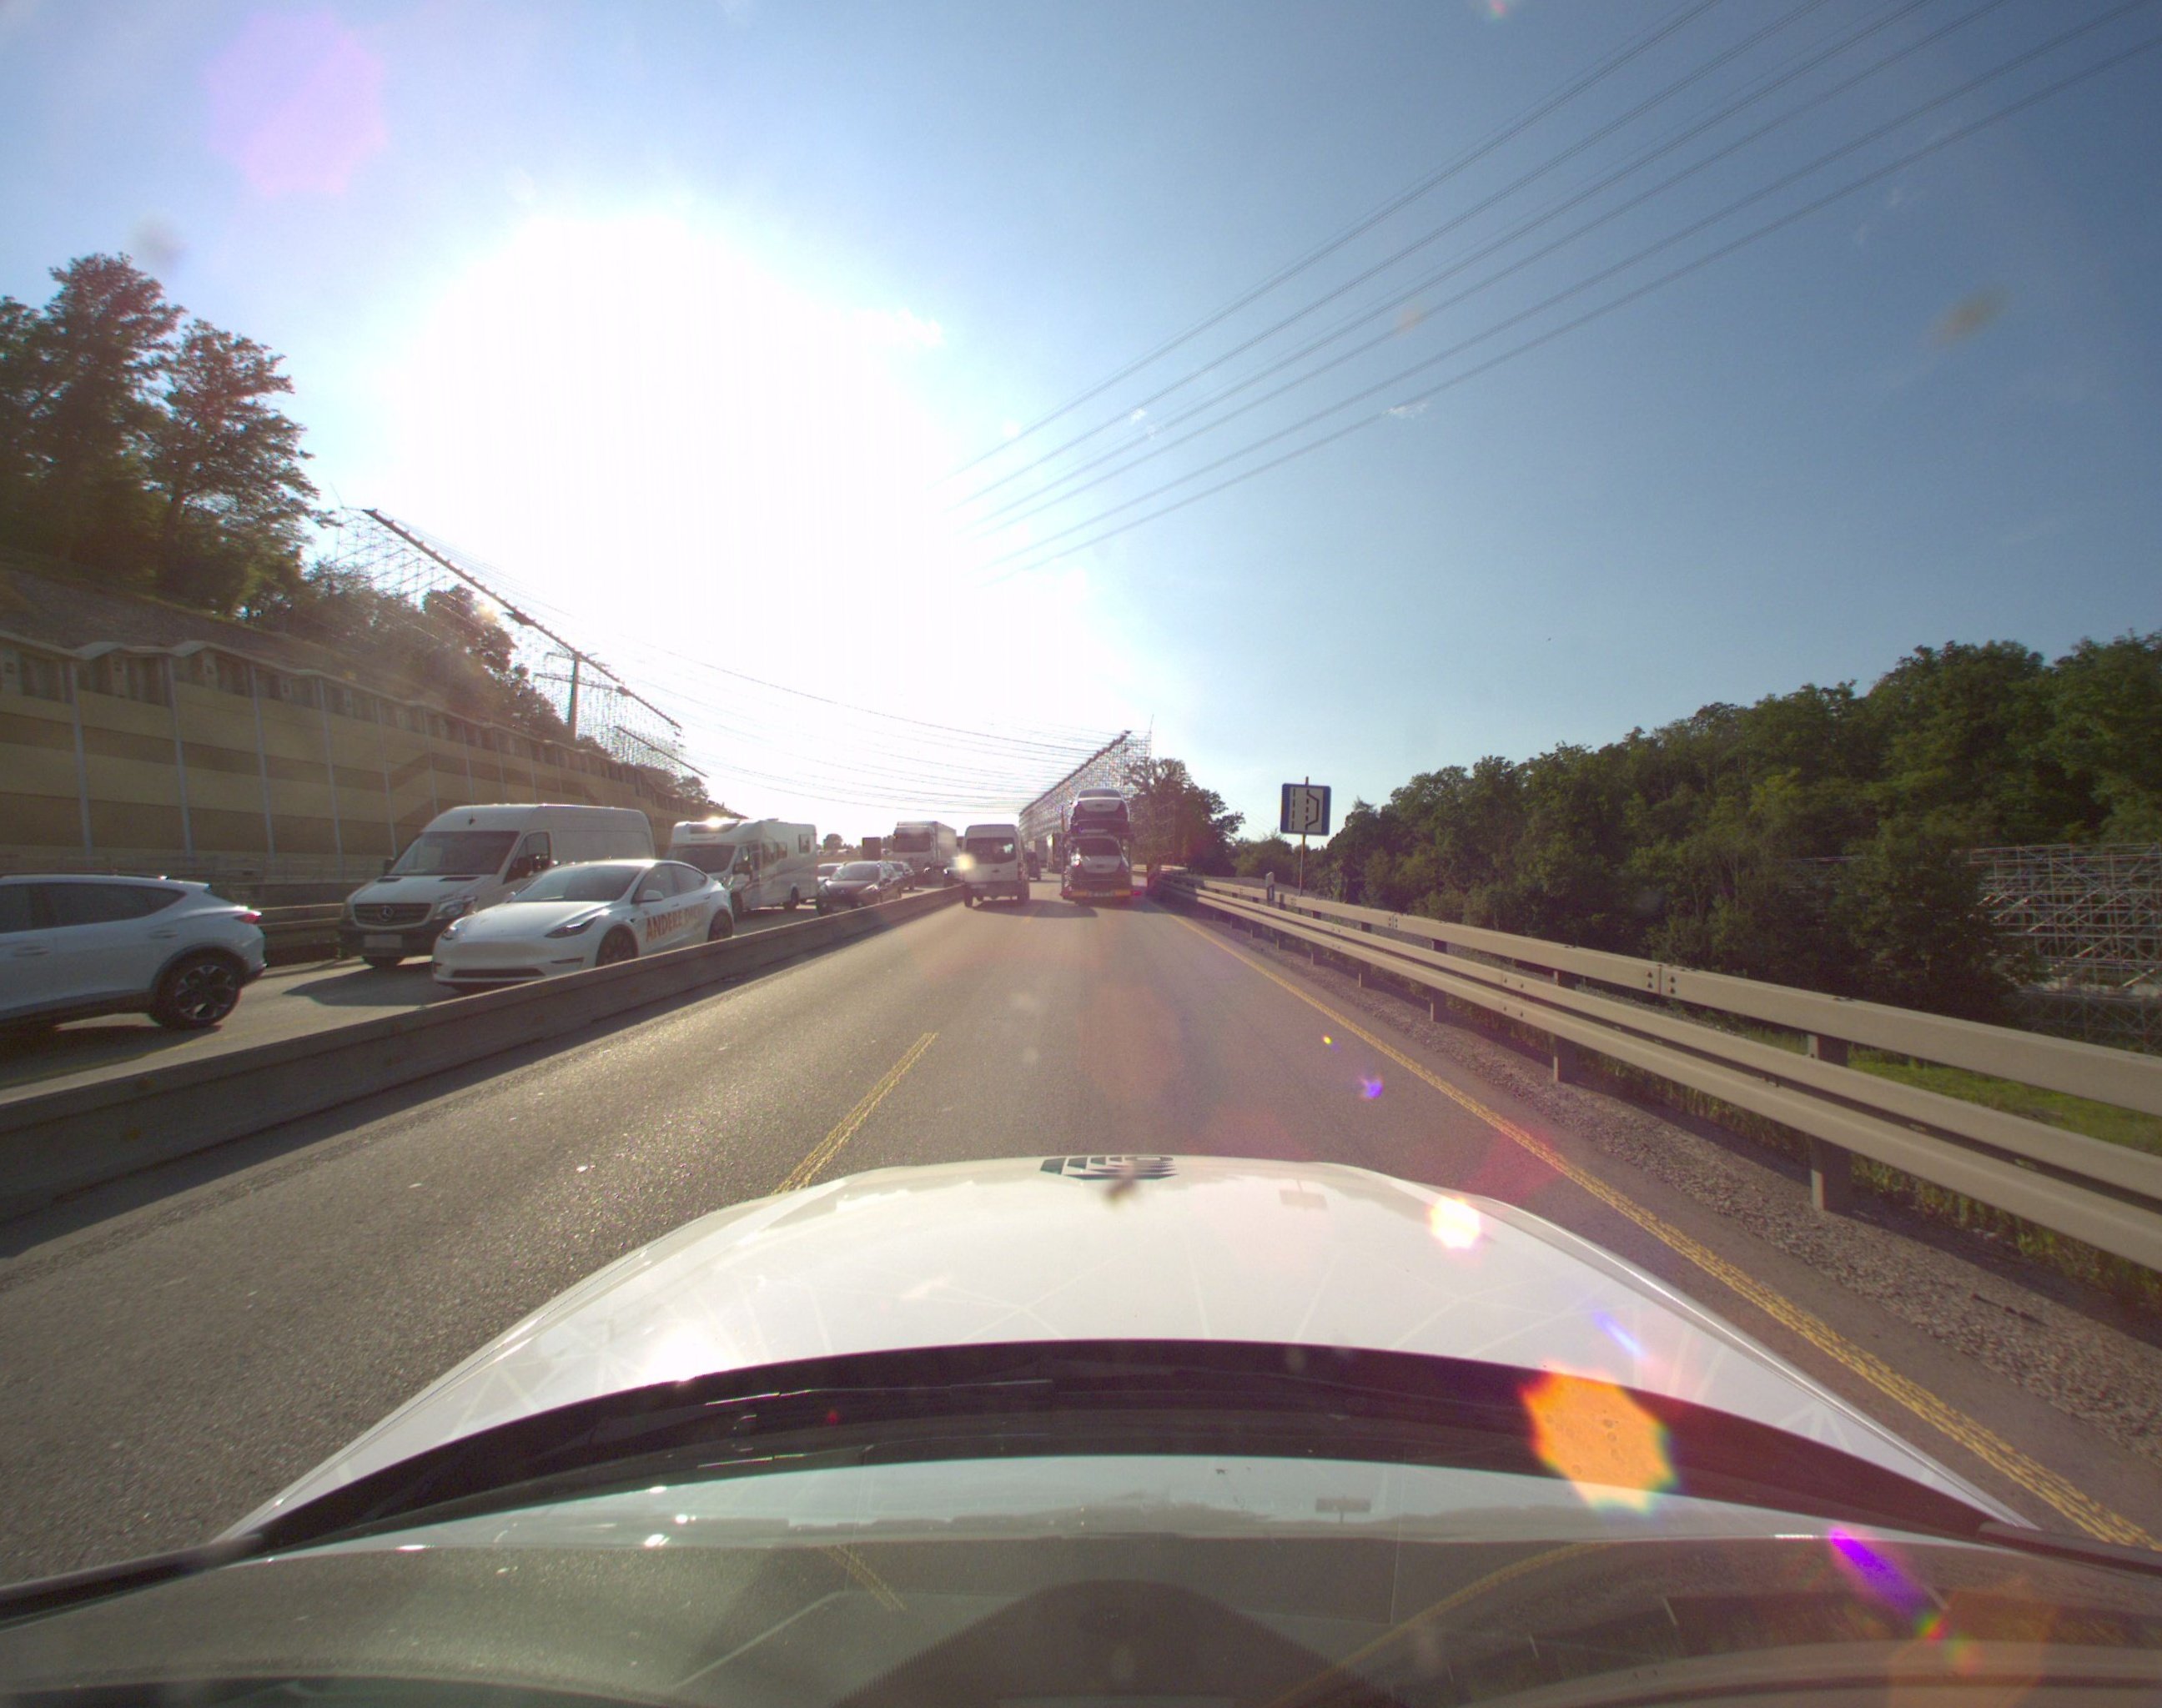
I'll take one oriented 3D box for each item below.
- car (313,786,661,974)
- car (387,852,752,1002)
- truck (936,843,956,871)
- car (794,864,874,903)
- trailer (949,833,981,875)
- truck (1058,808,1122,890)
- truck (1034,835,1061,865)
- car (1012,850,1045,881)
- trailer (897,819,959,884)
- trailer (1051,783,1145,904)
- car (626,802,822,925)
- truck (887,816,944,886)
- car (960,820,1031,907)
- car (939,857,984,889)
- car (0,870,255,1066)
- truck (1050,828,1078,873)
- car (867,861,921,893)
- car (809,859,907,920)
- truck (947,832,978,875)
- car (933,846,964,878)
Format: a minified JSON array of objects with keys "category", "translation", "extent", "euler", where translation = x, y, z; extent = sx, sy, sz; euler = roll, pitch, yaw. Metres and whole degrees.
[{"category":"car","translation":[-9.976,0.405,14.516],"extent":[1.950,2.621,5.747],"euler":[-2,-1,0]},{"category":"car","translation":[-6.640,0.809,11.428],"extent":[2.052,1.486,4.725],"euler":[-4,1,-1]},{"category":"truck","translation":[-20.817,0.433,125.220],"extent":[2.664,4.230,6.080],"euler":[-1,0,-12]},{"category":"car","translation":[-9.495,1.088,31.644],"extent":[1.743,1.422,4.607],"euler":[0,-1,-1]},{"category":"trailer","translation":[-12.934,0.054,91.955],"extent":[2.762,4.334,13.854],"euler":[-1,-1,-5]},{"category":"truck","translation":[0.413,-0.199,40.783],"extent":[2.872,3.702,7.323],"euler":[-1,-1,0]},{"category":"truck","translation":[-5.429,-0.617,129.929],"extent":[3.680,4.220,13.647],"euler":[-4,0,-4]},{"category":"car","translation":[-3.592,0.757,55.235],"extent":[1.992,2.014,3.989],"euler":[0,-1,-8]},{"category":"trailer","translation":[-11.002,-0.122,60.019],"extent":[2.715,4.218,13.730],"euler":[-1,-1,-3]},{"category":"trailer","translation":[0.472,-0.266,32.854],"extent":[2.860,3.725,14.941],"euler":[-1,0,-1]},{"category":"car","translation":[-9.887,0.275,23.605],"extent":[2.327,2.918,7.629],"euler":[-2,-1,-1]},{"category":"truck","translation":[-10.559,-0.191,52.472],"extent":[2.707,4.218,5.675],"euler":[-1,-1,-4]},{"category":"car","translation":[-2.769,0.317,27.162],"extent":[1.951,2.621,3.997],"euler":[-2,-1,-2]},{"category":"car","translation":[-6.797,1.029,46.779],"extent":[1.812,1.579,4.753],"euler":[-3,1,-1]},{"category":"car","translation":[-9.391,0.915,6.370],"extent":[1.758,1.523,4.002],"euler":[-1,-1,0]},{"category":"truck","translation":[-1.823,-0.365,85.212],"extent":[2.725,4.385,11.512],"euler":[0,0,-2]},{"category":"car","translation":[-9.403,1.118,41.339],"extent":[1.738,1.460,4.710],"euler":[-1,-1,-1]},{"category":"car","translation":[-6.387,0.963,23.786],"extent":[1.776,1.521,3.999],"euler":[0,1,-1]},{"category":"truck","translation":[-12.300,-0.026,84.926],"extent":[2.741,4.300,5.922],"euler":[-1,-1,-5]},{"category":"car","translation":[-11.684,0.672,72.228],"extent":[2.017,2.690,6.941],"euler":[0,1,-3]}]
